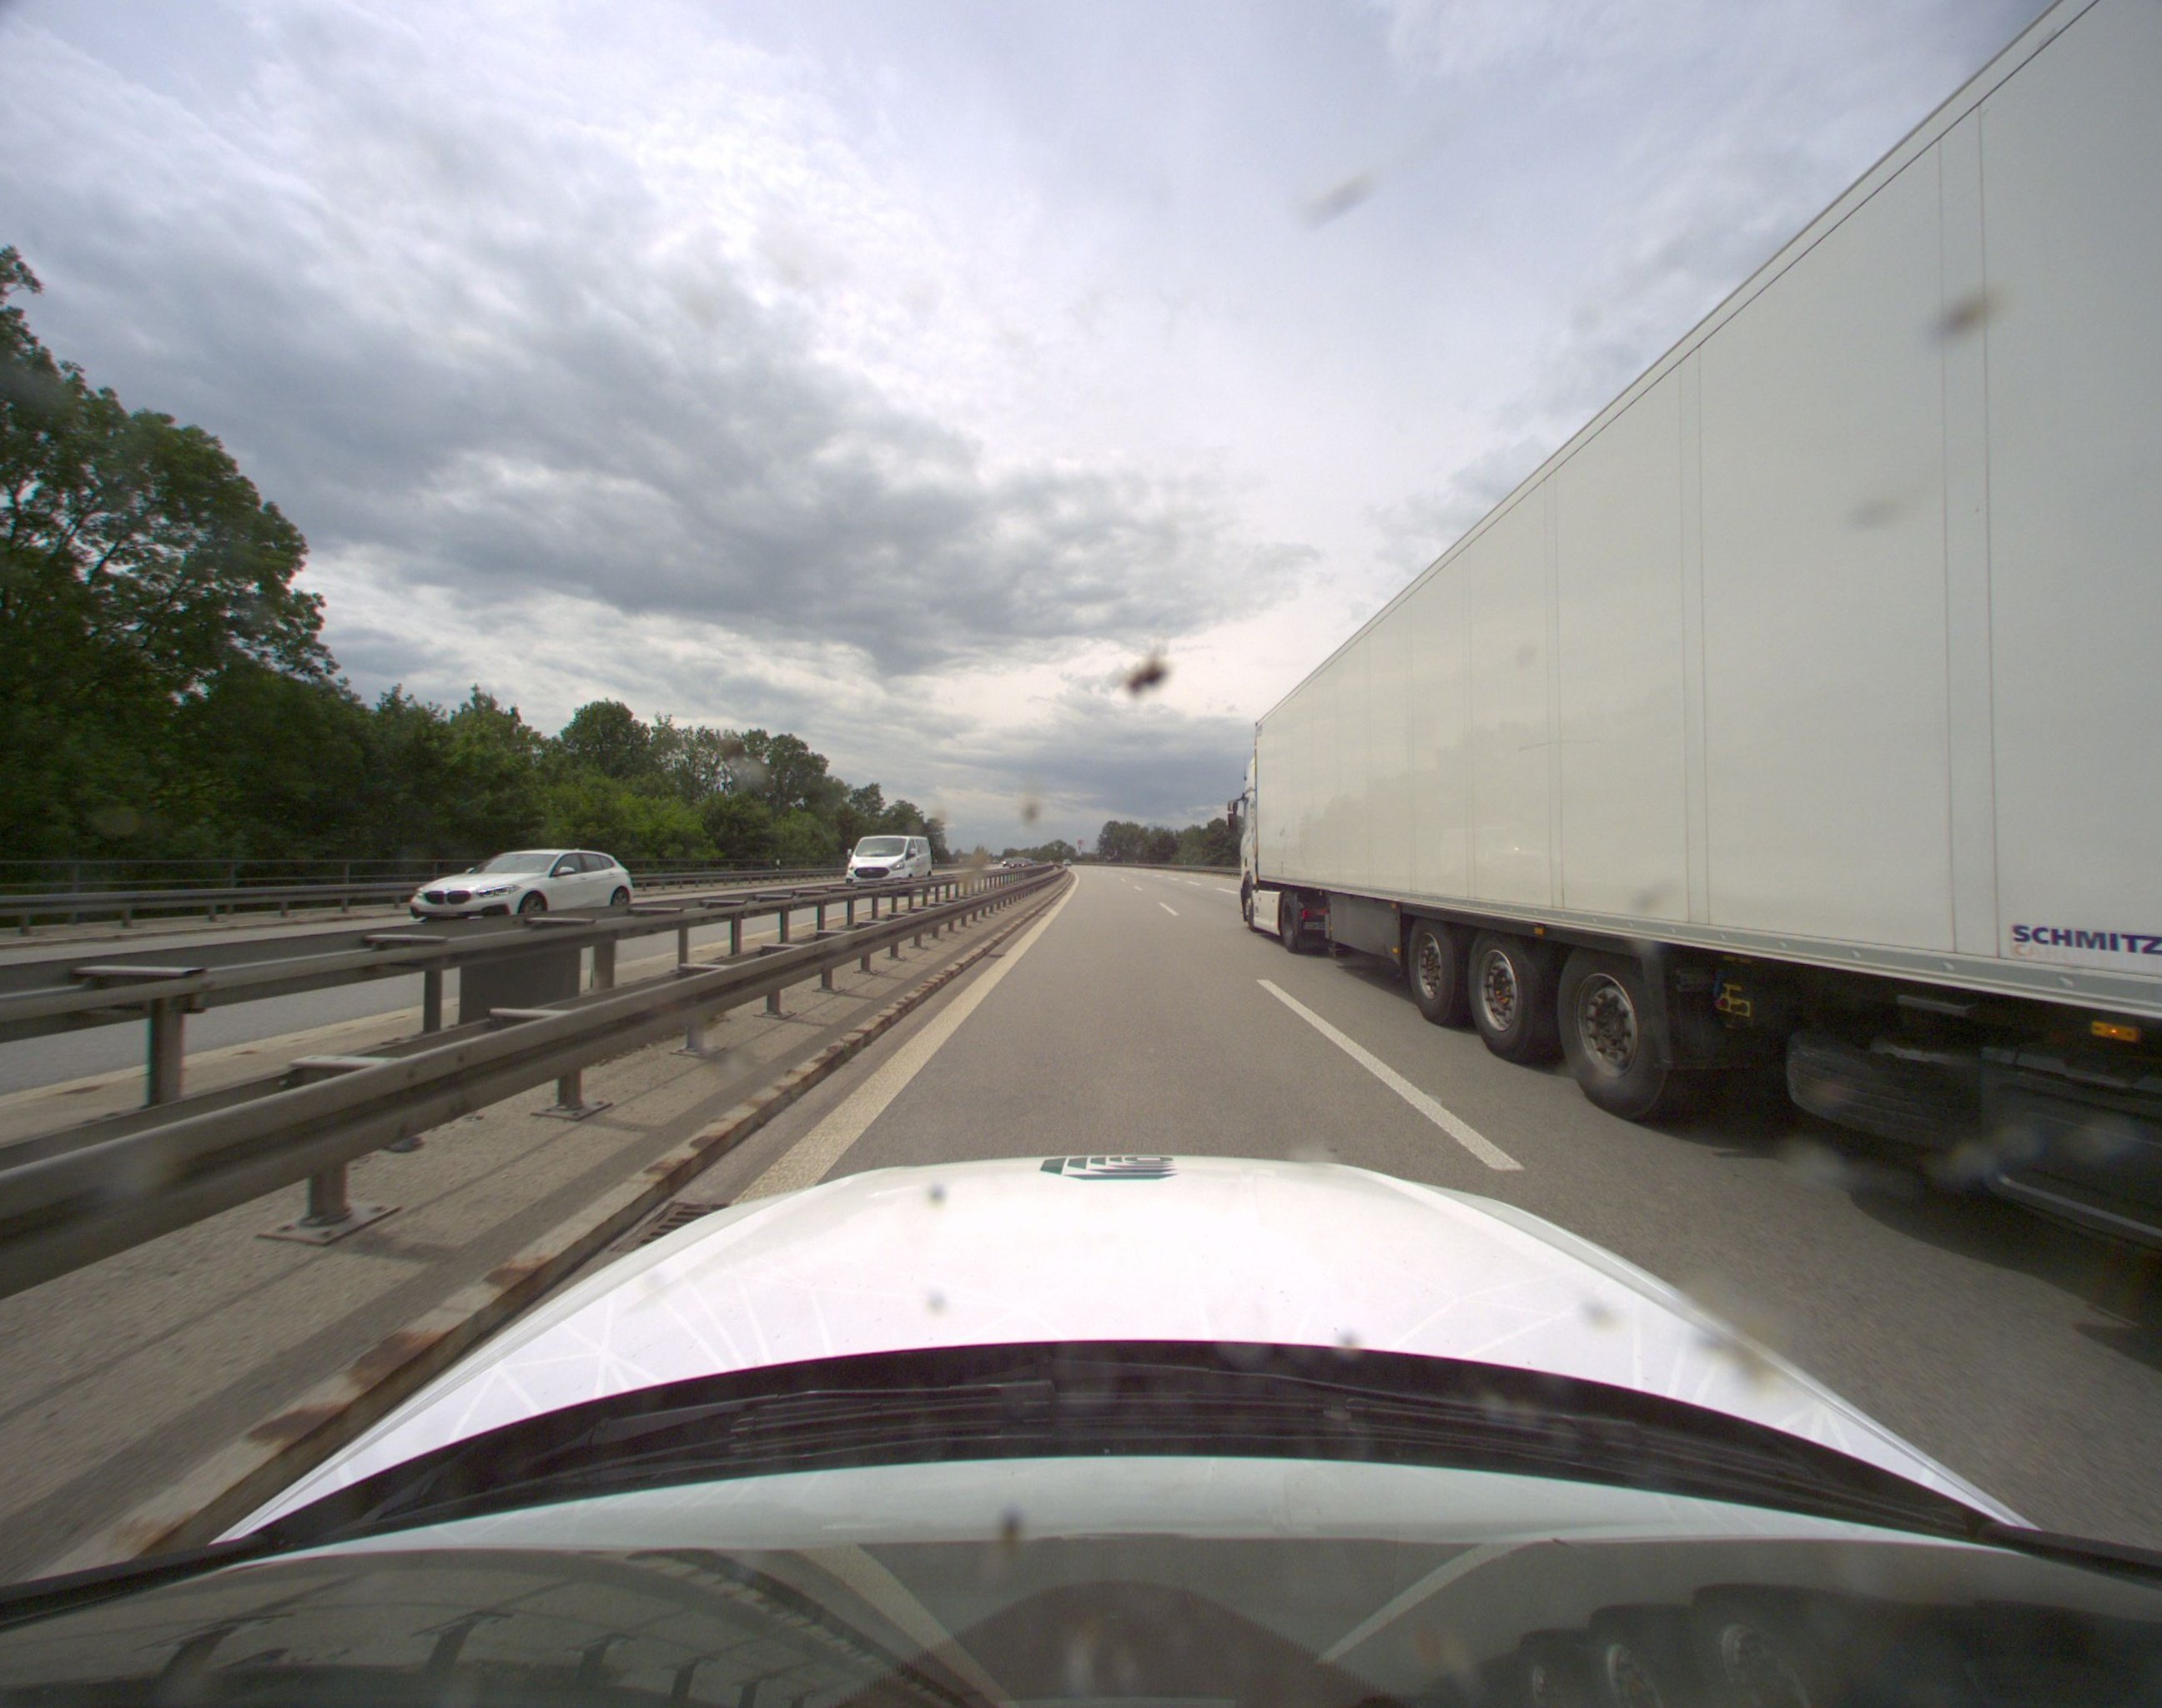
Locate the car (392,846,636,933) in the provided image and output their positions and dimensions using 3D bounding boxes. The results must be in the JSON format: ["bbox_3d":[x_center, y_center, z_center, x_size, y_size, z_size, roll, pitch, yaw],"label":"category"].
[{"bbox_3d":[-10.593,0.615,15.637,1.838,1.438,3.937,-1,-1,2],"label":"car"}]

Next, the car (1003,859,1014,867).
[{"bbox_3d":[-13.236,1.606,148.352,1.733,1.410,4.938,0,-1,-2],"label":"car"}]

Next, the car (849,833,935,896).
[{"bbox_3d":[-6.273,0.345,27.550,1.766,1.911,4.714,1,0,0],"label":"car"}]

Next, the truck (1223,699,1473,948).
[{"bbox_3d":[4.726,-0.458,15.844,3.050,3.892,6.002,-1,0,2],"label":"truck"}]

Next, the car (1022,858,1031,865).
[{"bbox_3d":[-10.157,1.437,152.058,1.647,1.367,4.144,0,0,-2],"label":"car"}]

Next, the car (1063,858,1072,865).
[{"bbox_3d":[-3.350,1.946,201.792,1.901,1.640,4.382,0,-1,-8],"label":"car"}]

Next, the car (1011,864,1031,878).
[{"bbox_3d":[-6.112,1.744,83.642,1.680,1.376,4.357,-2,-1,0],"label":"car"}]

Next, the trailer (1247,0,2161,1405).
[{"bbox_3d":[4.482,-0.525,8.654,3.050,3.891,13.796,-1,0,2],"label":"trailer"}]
